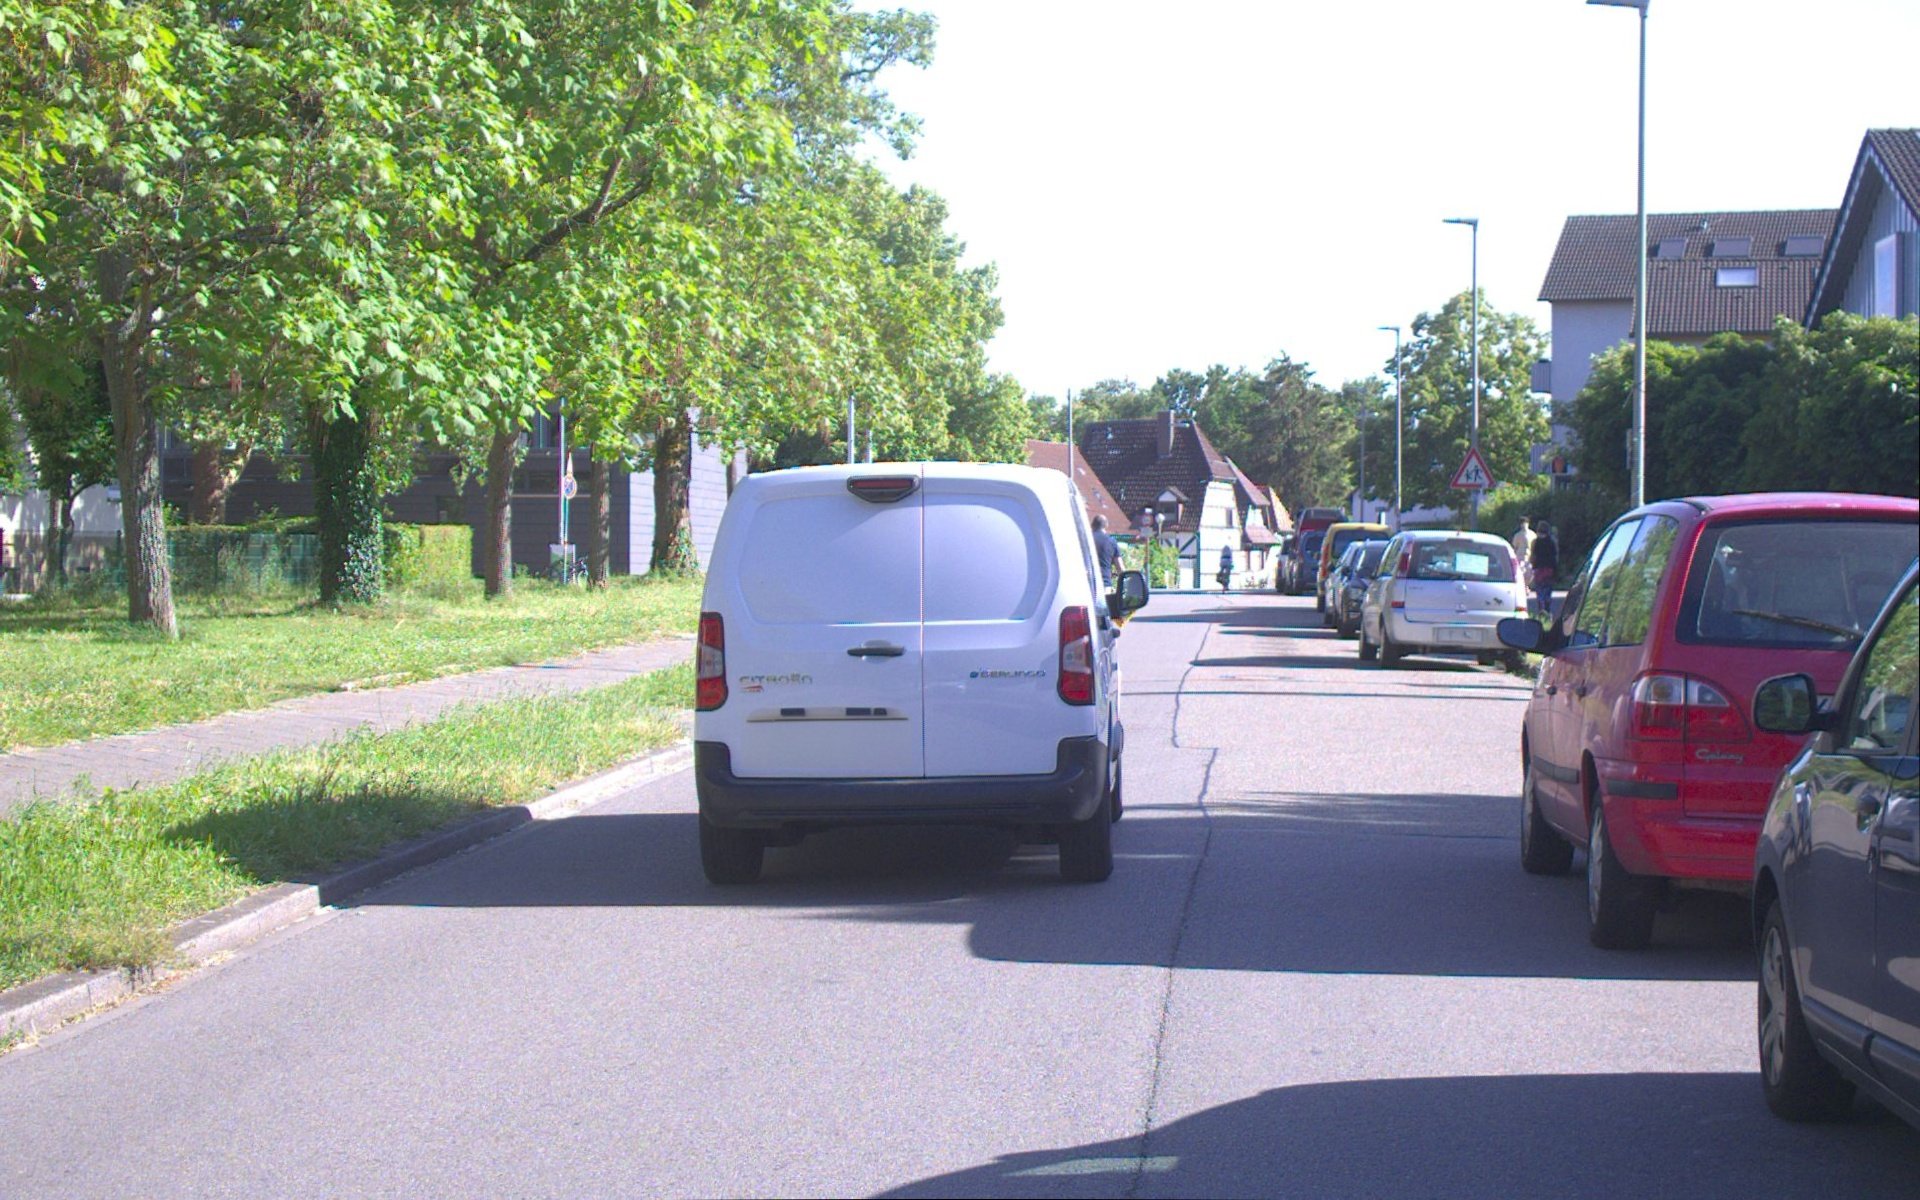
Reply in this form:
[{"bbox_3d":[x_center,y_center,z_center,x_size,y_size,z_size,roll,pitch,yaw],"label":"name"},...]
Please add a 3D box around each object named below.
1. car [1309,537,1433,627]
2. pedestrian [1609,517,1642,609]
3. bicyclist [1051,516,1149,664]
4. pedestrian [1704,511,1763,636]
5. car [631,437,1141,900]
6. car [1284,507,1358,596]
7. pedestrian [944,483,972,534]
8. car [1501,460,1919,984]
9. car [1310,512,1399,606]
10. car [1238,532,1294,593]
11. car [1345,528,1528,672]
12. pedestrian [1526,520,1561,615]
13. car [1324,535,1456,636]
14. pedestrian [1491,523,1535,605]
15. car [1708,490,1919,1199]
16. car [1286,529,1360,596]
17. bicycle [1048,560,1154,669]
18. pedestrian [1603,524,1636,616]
[{"bbox_3d":[6.889,-0.322,57.970,1.826,1.447,4.000,1,1,3],"label":"car"},{"bbox_3d":[11.920,-0.666,61.583,0.567,1.631,0.546,1,1,10],"label":"pedestrian"},{"bbox_3d":[1.522,-0.111,37.477,0.905,1.579,0.967,1,0,-6],"label":"bicyclist"},{"bbox_3d":[11.055,-0.387,49.151,0.799,1.775,0.808,0,1,13],"label":"pedestrian"},{"bbox_3d":[-0.195,0.230,16.147,1.994,1.875,4.288,0,1,4],"label":"car"},{"bbox_3d":[10.832,-1.425,103.407,1.867,2.553,4.767,3,0,3],"label":"car"},{"bbox_3d":[-0.047,-2.618,98.597,0.510,1.441,0.638,1,1,38],"label":"pedestrian"},{"bbox_3d":[3.289,0.370,14.131,1.840,1.799,4.653,0,1,6],"label":"car"},{"bbox_3d":[7.965,-0.834,69.640,1.724,1.831,3.999,1,1,6],"label":"car"},{"bbox_3d":[10.876,-1.324,122.472,1.804,2.061,3.999,3,0,3],"label":"car"},{"bbox_3d":[5.603,-0.021,40.840,1.680,1.594,4.028,1,1,1],"label":"car"},{"bbox_3d":[10.013,-0.562,58.976,0.567,1.631,0.546,1,1,10],"label":"pedestrian"},{"bbox_3d":[6.493,-0.252,52.274,1.808,1.438,4.363,1,1,5],"label":"car"},{"bbox_3d":[12.595,-0.821,78.341,0.793,1.855,0.874,1,1,-2],"label":"pedestrian"},{"bbox_3d":[2.808,0.596,7.477,1.725,1.651,4.352,0,1,5],"label":"car"},{"bbox_3d":[10.133,-1.033,96.170,1.804,1.779,3.999,3,0,3],"label":"car"},{"bbox_3d":[1.522,0.141,37.444,0.786,1.135,2.280,0,1,-7],"label":"bicycle"},{"bbox_3d":[11.825,-0.539,61.647,0.567,1.631,0.546,1,1,10],"label":"pedestrian"}]
